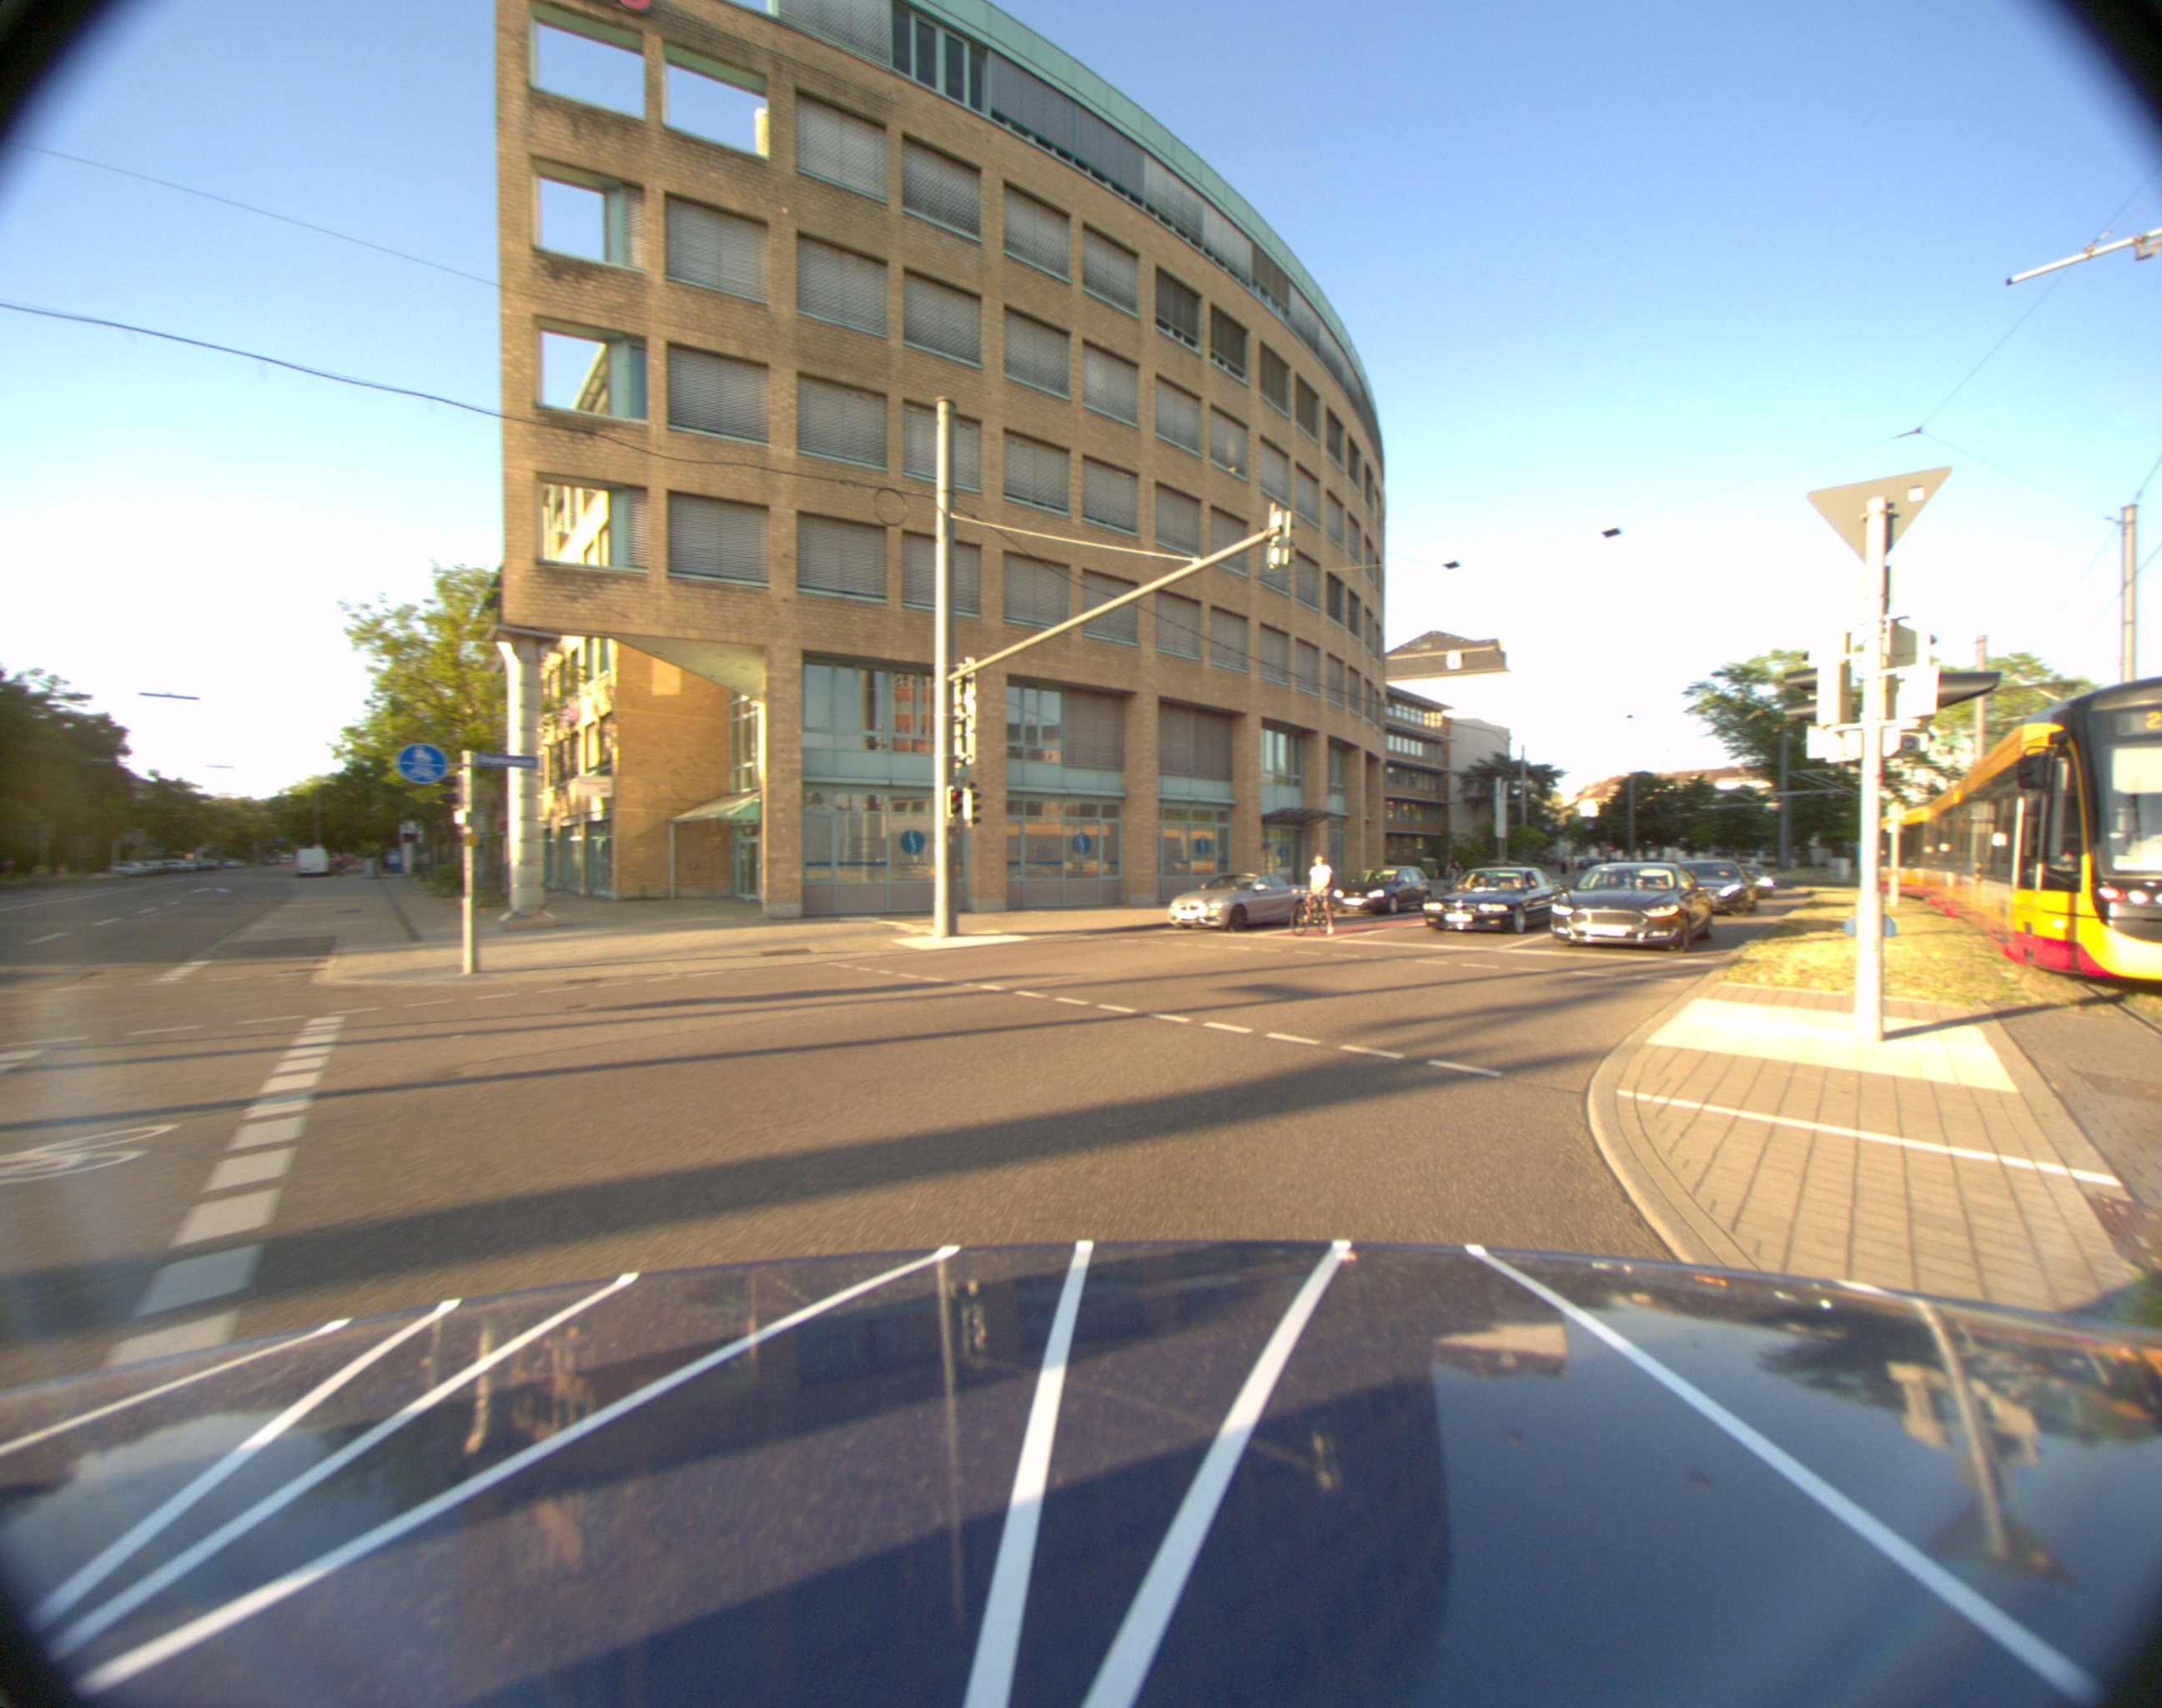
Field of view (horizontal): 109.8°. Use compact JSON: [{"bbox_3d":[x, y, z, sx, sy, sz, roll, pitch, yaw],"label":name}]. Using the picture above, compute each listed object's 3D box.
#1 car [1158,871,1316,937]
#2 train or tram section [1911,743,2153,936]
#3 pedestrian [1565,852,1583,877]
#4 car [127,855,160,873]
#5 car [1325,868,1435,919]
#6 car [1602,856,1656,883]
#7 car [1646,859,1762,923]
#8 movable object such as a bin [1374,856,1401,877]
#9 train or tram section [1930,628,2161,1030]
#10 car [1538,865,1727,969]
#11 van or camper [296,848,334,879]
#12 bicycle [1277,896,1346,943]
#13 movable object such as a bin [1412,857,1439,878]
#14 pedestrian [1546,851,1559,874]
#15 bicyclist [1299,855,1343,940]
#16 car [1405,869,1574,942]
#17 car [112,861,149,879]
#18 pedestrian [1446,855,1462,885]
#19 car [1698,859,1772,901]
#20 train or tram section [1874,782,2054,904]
[{"bbox_3d":[4.002,1.167,19.041,4.236,1.377,1.744,0,0,-43],"label":"car"},{"bbox_3d":[24.035,-0.287,19.870,12.209,3.717,2.878,0,0,-44],"label":"train or tram section"},{"bbox_3d":[37.205,0.770,57.374,1.129,1.883,0.909,-1,0,-43],"label":"pedestrian"},{"bbox_3d":[-91.299,0.941,74.002,3.988,1.648,2.004,0,0,39],"label":"car"},{"bbox_3d":[9.431,1.175,23.838,1.755,1.379,4.008,0,0,45],"label":"car"},{"bbox_3d":[36.845,1.020,51.059,4.008,1.739,1.994,0,0,-39],"label":"car"},{"bbox_3d":[17.291,0.922,20.989,4.715,1.526,1.893,0,0,-43],"label":"car"},{"bbox_3d":[22.343,0.913,55.455,1.423,1.450,1.336,0,0,44],"label":"movable object such as a bin"},{"bbox_3d":[15.169,-0.248,11.206,13.246,3.717,2.910,0,0,-45],"label":"train or tram section"},{"bbox_3d":[9.975,0.972,13.585,4.735,1.477,1.886,0,0,-43],"label":"car"},{"bbox_3d":[-70.724,0.855,70.208,2.160,2.826,4.391,-1,0,-42],"label":"van or camper"},{"bbox_3d":[5.014,1.384,16.456,0.633,0.868,1.874,0,0,45],"label":"bicycle"},{"bbox_3d":[23.994,0.951,52.913,1.423,1.450,1.336,0,0,42],"label":"movable object such as a bin"},{"bbox_3d":[37.968,0.695,61.164,0.725,1.797,0.726,-1,0,-44],"label":"pedestrian"},{"bbox_3d":[5.291,0.938,16.723,0.633,1.810,0.779,0,0,45],"label":"bicyclist"},{"bbox_3d":[9.385,1.067,17.270,4.749,1.377,1.994,0,-1,-44],"label":"car"},{"bbox_3d":[-87.985,1.440,70.394,3.988,1.608,1.911,-1,0,42],"label":"car"},{"bbox_3d":[20.793,0.869,42.324,0.626,1.672,0.715,0,0,43],"label":"pedestrian"},{"bbox_3d":[25.159,0.939,29.165,1.994,1.453,4.152,-1,0,43],"label":"car"},{"bbox_3d":[32.467,-0.331,28.508,2.906,3.717,12.218,0,0,42],"label":"train or tram section"}]
